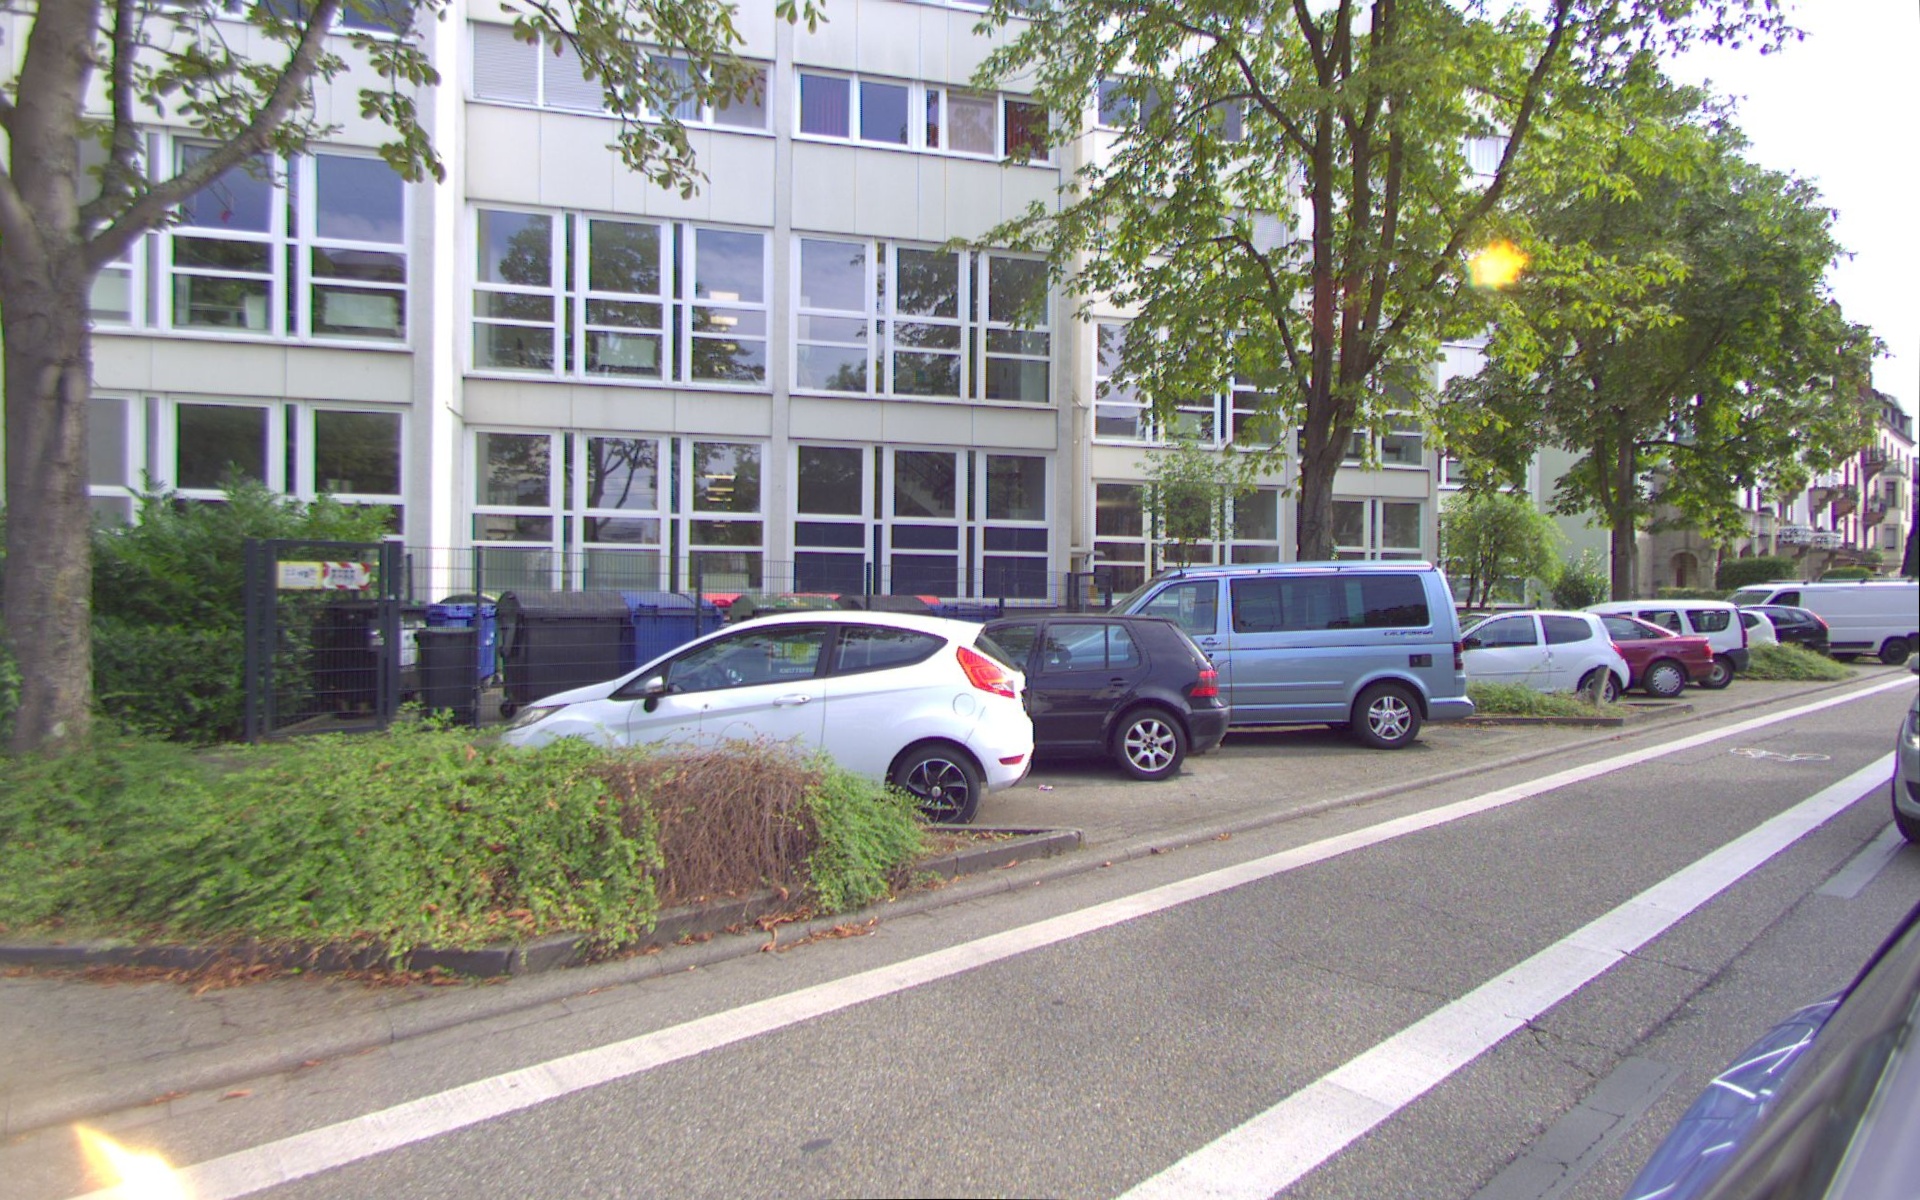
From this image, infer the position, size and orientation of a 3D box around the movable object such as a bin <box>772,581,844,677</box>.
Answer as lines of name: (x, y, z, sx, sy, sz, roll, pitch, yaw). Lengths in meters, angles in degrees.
movable object such as a bin: (-2.637, 0.483, 17.444, 1.150, 1.588, 1.182, 0, 0, -12)

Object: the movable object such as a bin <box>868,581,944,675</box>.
movable object such as a bin: (-0.967, 0.469, 17.746, 1.150, 1.588, 1.182, 0, 0, -12)

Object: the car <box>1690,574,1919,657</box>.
car: (23.935, 0.385, 28.240, 5.349, 2.203, 2.143, 0, 0, 9)

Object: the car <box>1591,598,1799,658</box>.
car: (17.390, 0.644, 24.075, 3.580, 1.347, 1.766, 0, 0, 5)

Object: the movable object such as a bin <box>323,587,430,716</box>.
movable object such as a bin: (-6.787, 0.568, 11.835, 0.893, 1.425, 1.026, 0, 0, -19)

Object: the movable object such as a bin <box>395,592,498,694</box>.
movable object such as a bin: (-7.299, 0.584, 14.461, 1.155, 1.387, 1.177, 0, 0, -19)

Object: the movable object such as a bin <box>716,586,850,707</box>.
movable object such as a bin: (-2.385, 0.581, 13.611, 1.328, 1.521, 1.335, 0, 0, -36)

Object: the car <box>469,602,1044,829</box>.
car: (-1.310, 0.737, 7.377, 3.792, 1.410, 1.632, 0, 0, 4)

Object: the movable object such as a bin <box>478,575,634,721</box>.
movable object such as a bin: (-4.684, 0.503, 11.707, 1.389, 1.549, 1.330, 0, 0, -36)

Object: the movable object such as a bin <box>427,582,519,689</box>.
movable object such as a bin: (-7.571, 0.526, 15.811, 1.155, 1.588, 1.177, 0, 0, -19)

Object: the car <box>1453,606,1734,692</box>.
car: (10.885, 0.797, 17.640, 3.708, 1.355, 1.810, 0, 0, 9)

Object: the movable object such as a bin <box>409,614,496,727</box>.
movable object such as a bin: (-5.382, 0.718, 10.720, 0.729, 1.119, 0.786, 0, 0, -34)

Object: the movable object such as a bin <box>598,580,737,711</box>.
movable object such as a bin: (-3.693, 0.526, 12.732, 1.312, 1.523, 1.335, 0, 0, -36)

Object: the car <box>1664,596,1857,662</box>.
car: (20.736, 0.701, 26.409, 3.605, 1.609, 1.753, 0, 0, 24)

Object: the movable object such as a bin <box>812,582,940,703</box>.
movable object such as a bin: (-1.212, 0.569, 14.465, 1.328, 1.616, 1.335, 0, 0, -36)

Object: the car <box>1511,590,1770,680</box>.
car: (13.005, 0.625, 19.577, 3.708, 1.638, 1.810, 0, 0, 9)

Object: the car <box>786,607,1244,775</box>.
car: (0.497, 0.778, 9.553, 3.902, 1.405, 1.812, 0, -1, 5)

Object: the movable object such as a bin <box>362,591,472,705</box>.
movable object such as a bin: (-7.021, 0.590, 13.150, 1.095, 1.409, 1.065, 0, 0, -19)

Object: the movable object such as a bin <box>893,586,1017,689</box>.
movable object such as a bin: (-0.083, 0.535, 15.499, 1.374, 1.477, 1.335, 0, 0, -36)

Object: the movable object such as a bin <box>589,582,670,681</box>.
movable object such as a bin: (-5.488, 0.506, 16.907, 1.150, 1.588, 1.182, 0, 0, -12)

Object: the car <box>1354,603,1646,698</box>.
car: (8.247, 0.737, 15.739, 3.580, 1.347, 1.766, 0, 0, 5)

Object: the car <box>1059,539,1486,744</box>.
car: (3.306, 0.408, 11.490, 4.268, 2.090, 1.998, 0, 0, 5)

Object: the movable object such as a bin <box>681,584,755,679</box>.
movable object such as a bin: (-4.055, 0.510, 17.049, 1.150, 1.533, 1.182, 0, 0, -12)

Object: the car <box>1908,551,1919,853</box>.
car: (7.774, 0.586, 6.505, 4.533, 1.722, 1.816, 0, 0, -38)
